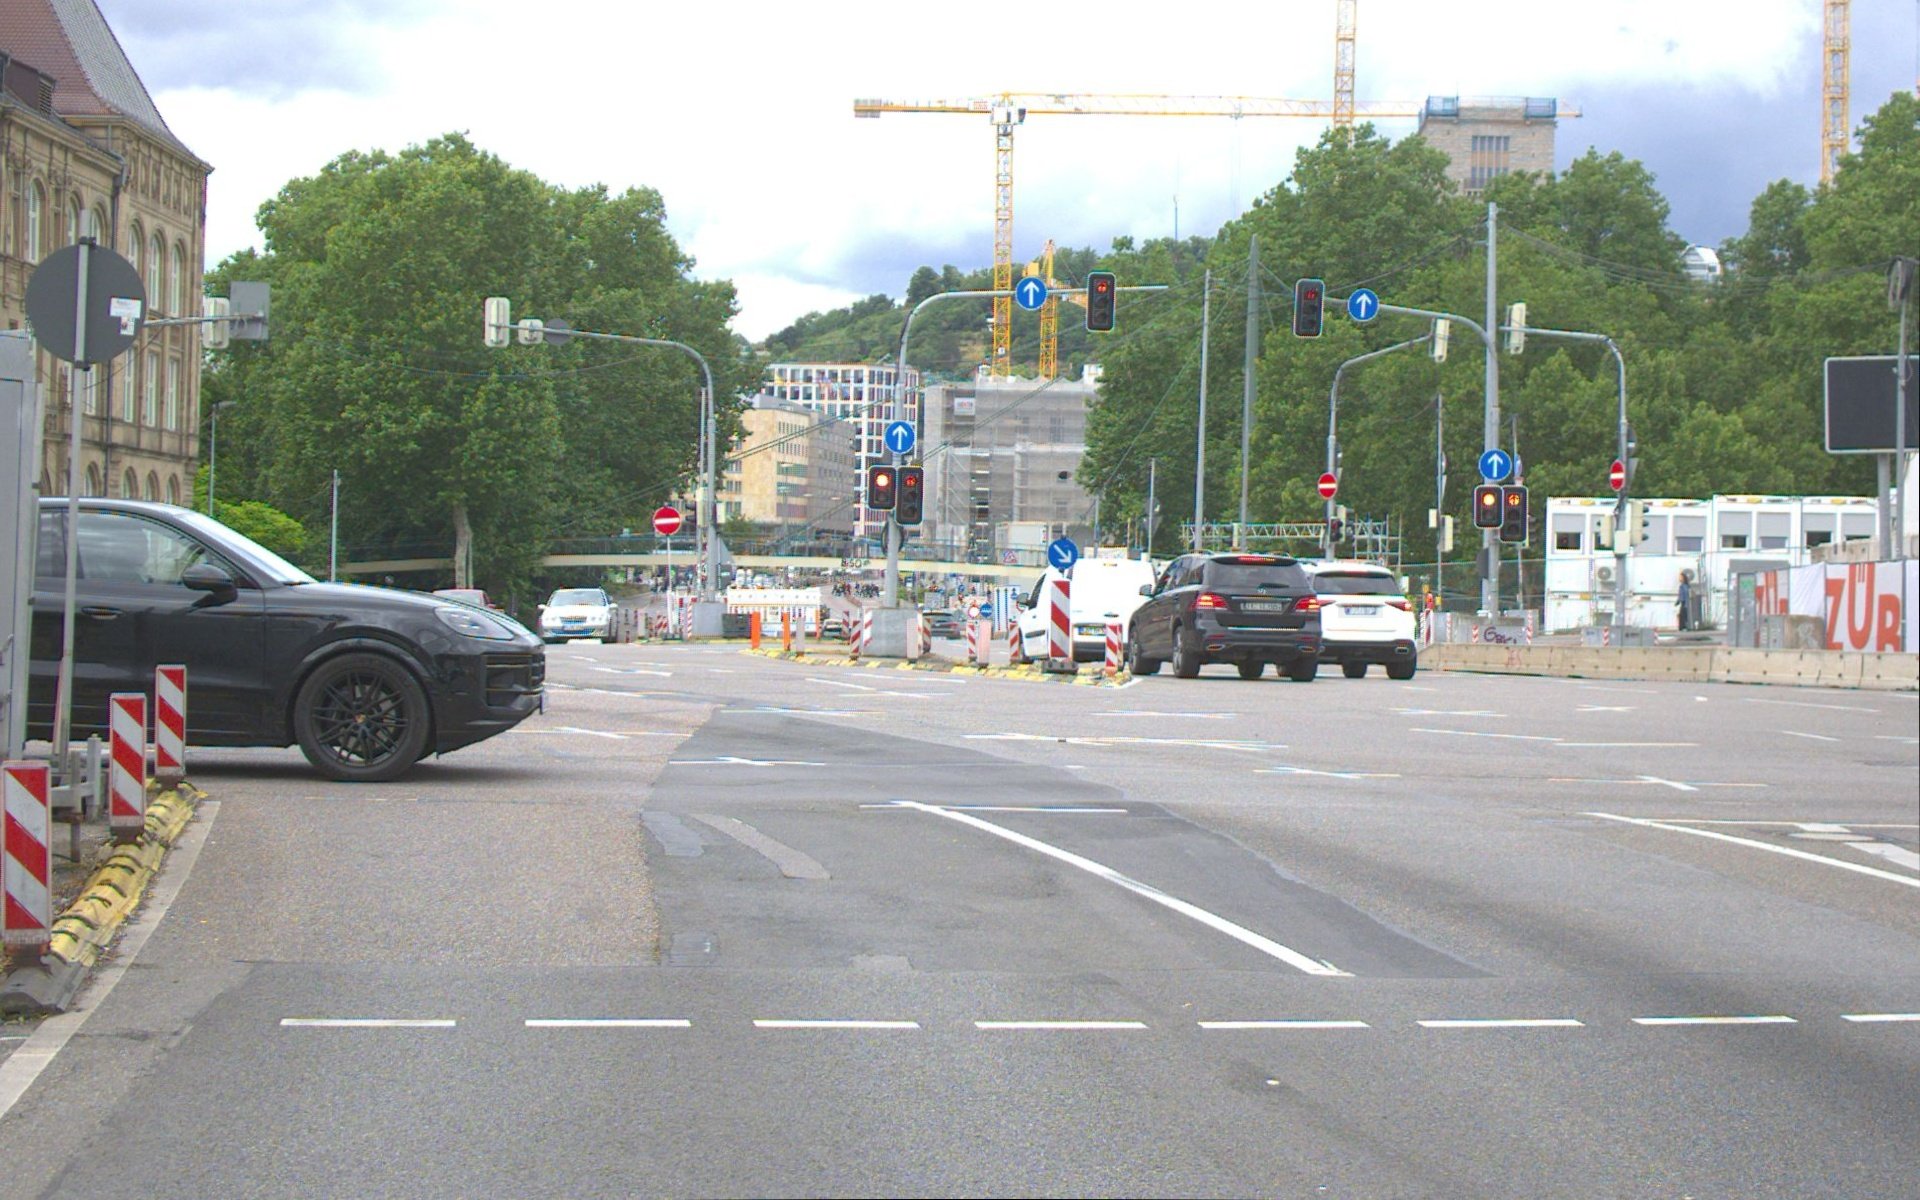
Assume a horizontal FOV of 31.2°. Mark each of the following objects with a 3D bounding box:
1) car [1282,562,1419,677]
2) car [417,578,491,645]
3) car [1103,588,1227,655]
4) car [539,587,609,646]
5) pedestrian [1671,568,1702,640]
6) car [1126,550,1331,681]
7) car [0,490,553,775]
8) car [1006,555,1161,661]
[{"bbox_3d":[5.990,0.273,53.058,1.676,1.696,3.374,1,1,-1],"label":"car"},{"bbox_3d":[-12.446,0.263,84.730,1.675,1.575,3.684,1,1,-7],"label":"car"},{"bbox_3d":[4.508,0.461,75.999,1.675,1.393,3.087,1,1,-19],"label":"car"},{"bbox_3d":[-9.553,0.391,85.029,1.675,1.393,3.684,1,1,-7],"label":"car"},{"bbox_3d":[17.751,0.101,83.952,0.526,1.742,0.468,1,1,-24],"label":"pedestrian"},{"bbox_3d":[3.715,0.192,48.300,1.831,1.740,4.257,1,1,-10],"label":"car"},{"bbox_3d":[-4.910,0.176,20.900,4.807,1.619,2.021,1,0,-7],"label":"car"},{"bbox_3d":[1.955,0.106,55.538,1.816,1.619,4.001,1,1,-8],"label":"car"}]
